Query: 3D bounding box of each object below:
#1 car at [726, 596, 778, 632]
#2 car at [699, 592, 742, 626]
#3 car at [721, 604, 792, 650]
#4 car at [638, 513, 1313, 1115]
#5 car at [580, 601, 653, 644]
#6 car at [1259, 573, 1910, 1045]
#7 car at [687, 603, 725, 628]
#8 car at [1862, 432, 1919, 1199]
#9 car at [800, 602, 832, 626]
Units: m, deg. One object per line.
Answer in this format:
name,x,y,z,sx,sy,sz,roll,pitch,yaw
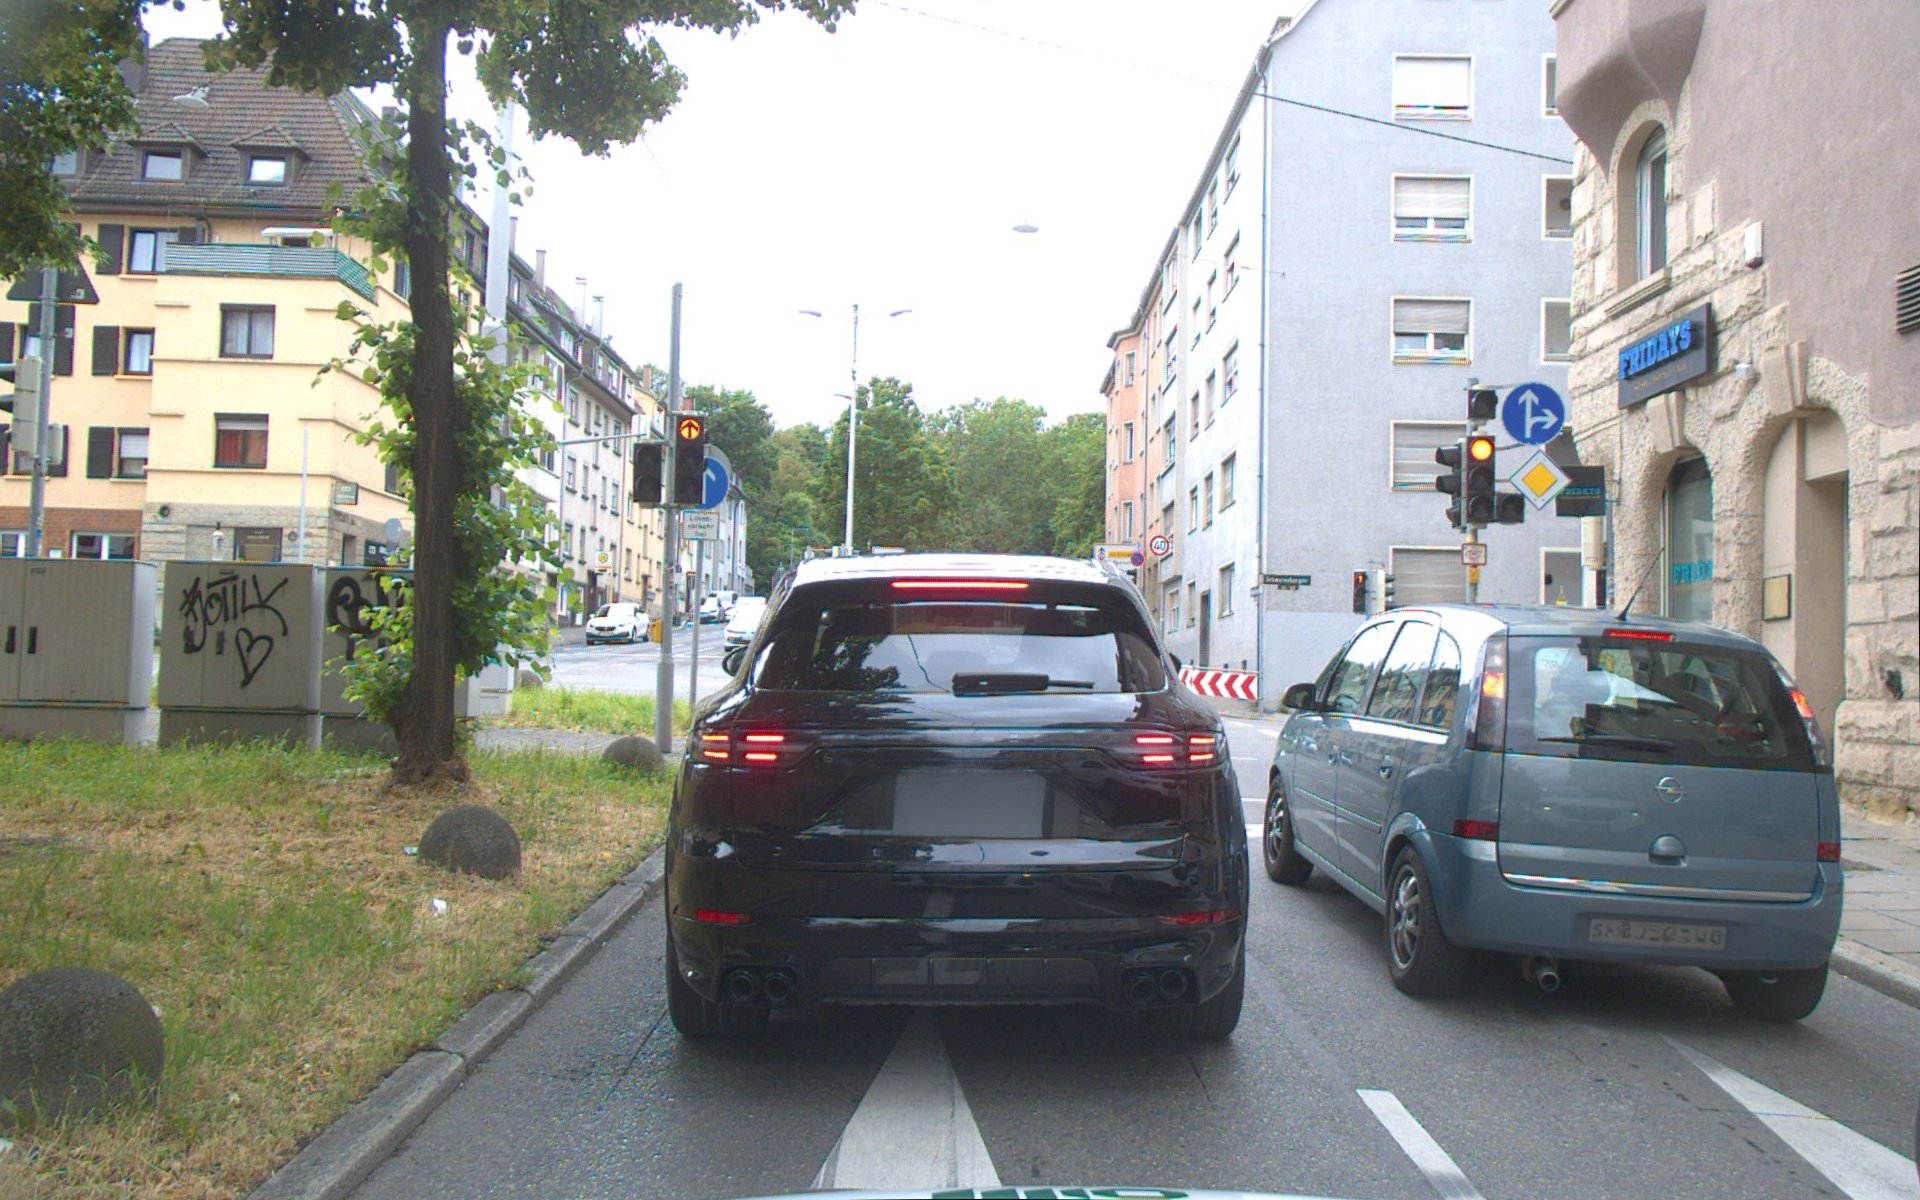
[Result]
car,-9.965,0.656,79.476,1.933,1.638,4.557,1,0,-1
car,-15.060,0.583,104.229,1.975,2.081,4.666,1,0,0
car,-6.646,0.858,54.303,1.824,1.412,4.094,1,0,0
car,0.021,0.616,6.708,1.916,1.704,3.999,0,0,-1
car,-12.644,0.812,61.080,1.806,1.512,3.898,1,0,0
car,2.627,0.775,7.899,1.596,1.625,3.668,4,0,-1
car,-15.111,0.900,98.586,1.703,1.411,3.813,1,0,0
car,2.899,0.634,1.015,1.936,1.806,4.674,4,0,-2
car,-9.675,0.945,111.458,1.585,1.506,3.824,1,-1,3
